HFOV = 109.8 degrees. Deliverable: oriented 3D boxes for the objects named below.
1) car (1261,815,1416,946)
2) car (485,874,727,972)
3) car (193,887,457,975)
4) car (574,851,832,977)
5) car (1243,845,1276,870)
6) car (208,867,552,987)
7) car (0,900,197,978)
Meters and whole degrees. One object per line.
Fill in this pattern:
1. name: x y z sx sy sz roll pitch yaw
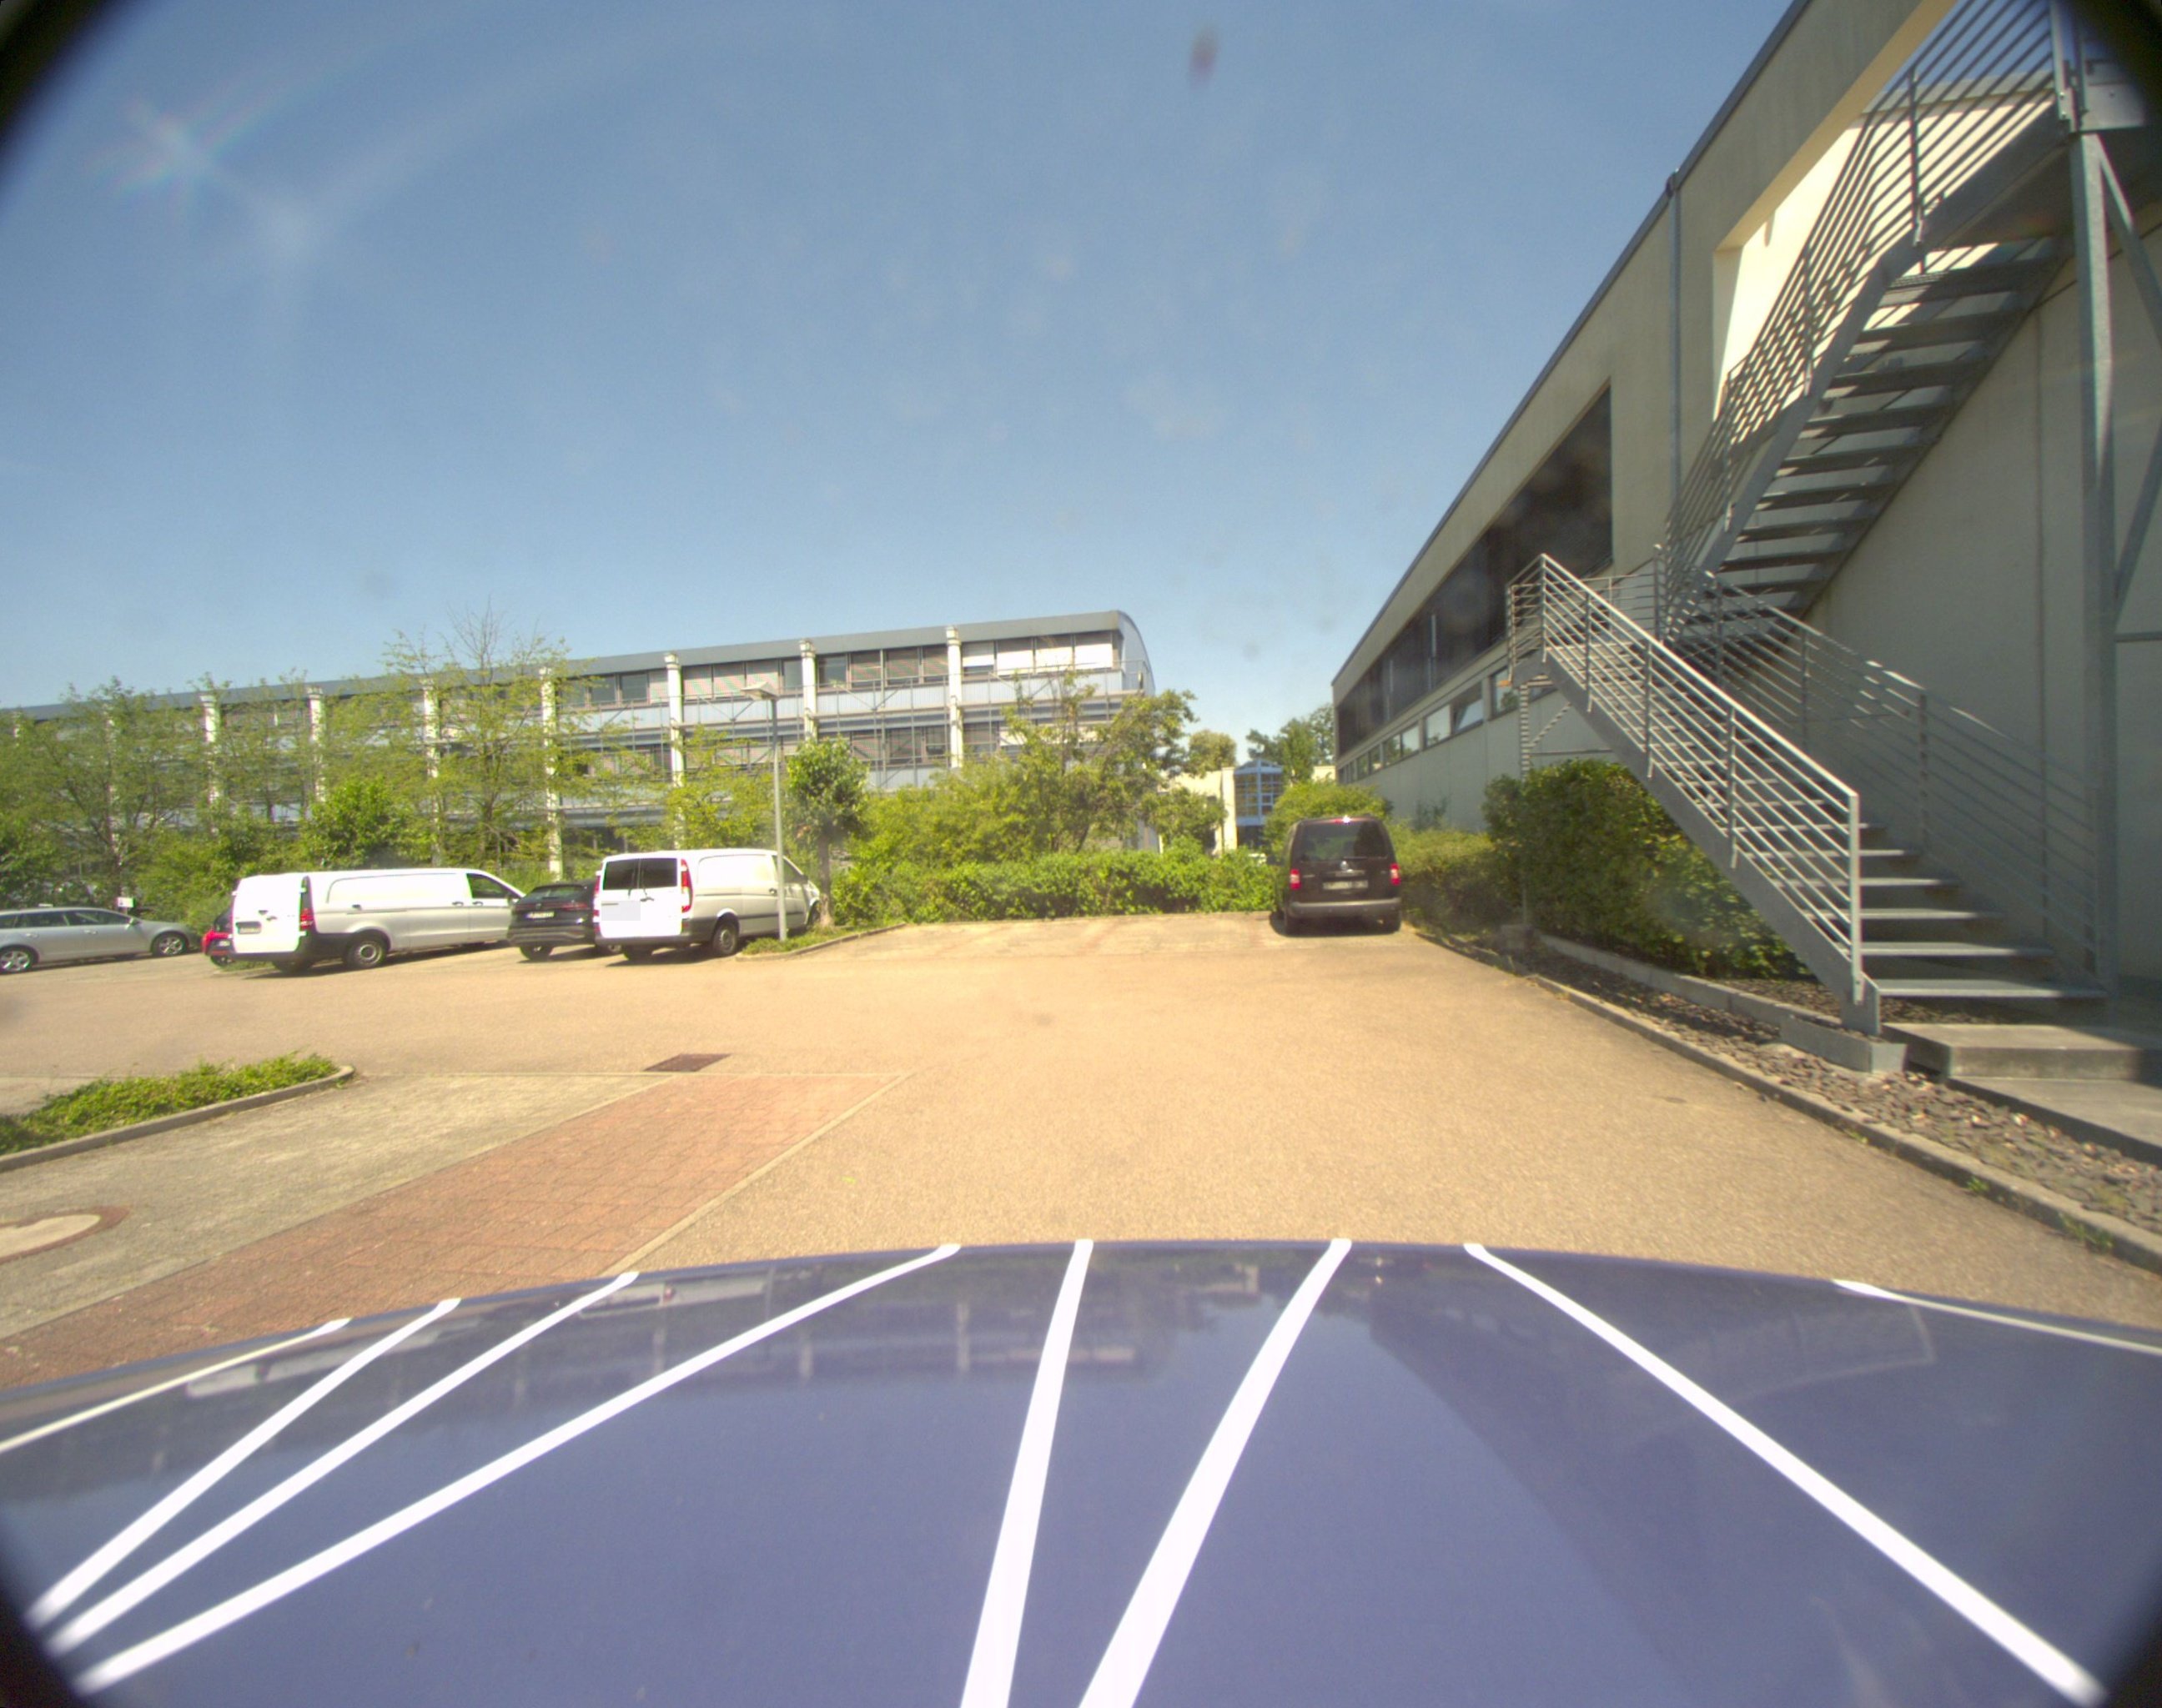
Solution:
1. car: 4.268 0.356 13.279 1.866 1.849 4.231 -3 1 10
2. car: -9.375 1.280 15.501 1.737 1.475 4.200 -3 1 10
3. car: -16.936 1.652 17.333 1.622 1.479 3.924 -3 1 12
4. car: -6.816 0.966 14.432 1.866 1.849 4.680 -3 1 10
5. car: 12.909 0.236 55.115 1.835 1.558 4.001 -3 2 7
6. car: -13.979 1.335 15.694 1.854 1.845 4.938 -3 1 12
7. car: -24.689 2.039 18.237 1.737 1.475 4.088 -3 1 13
